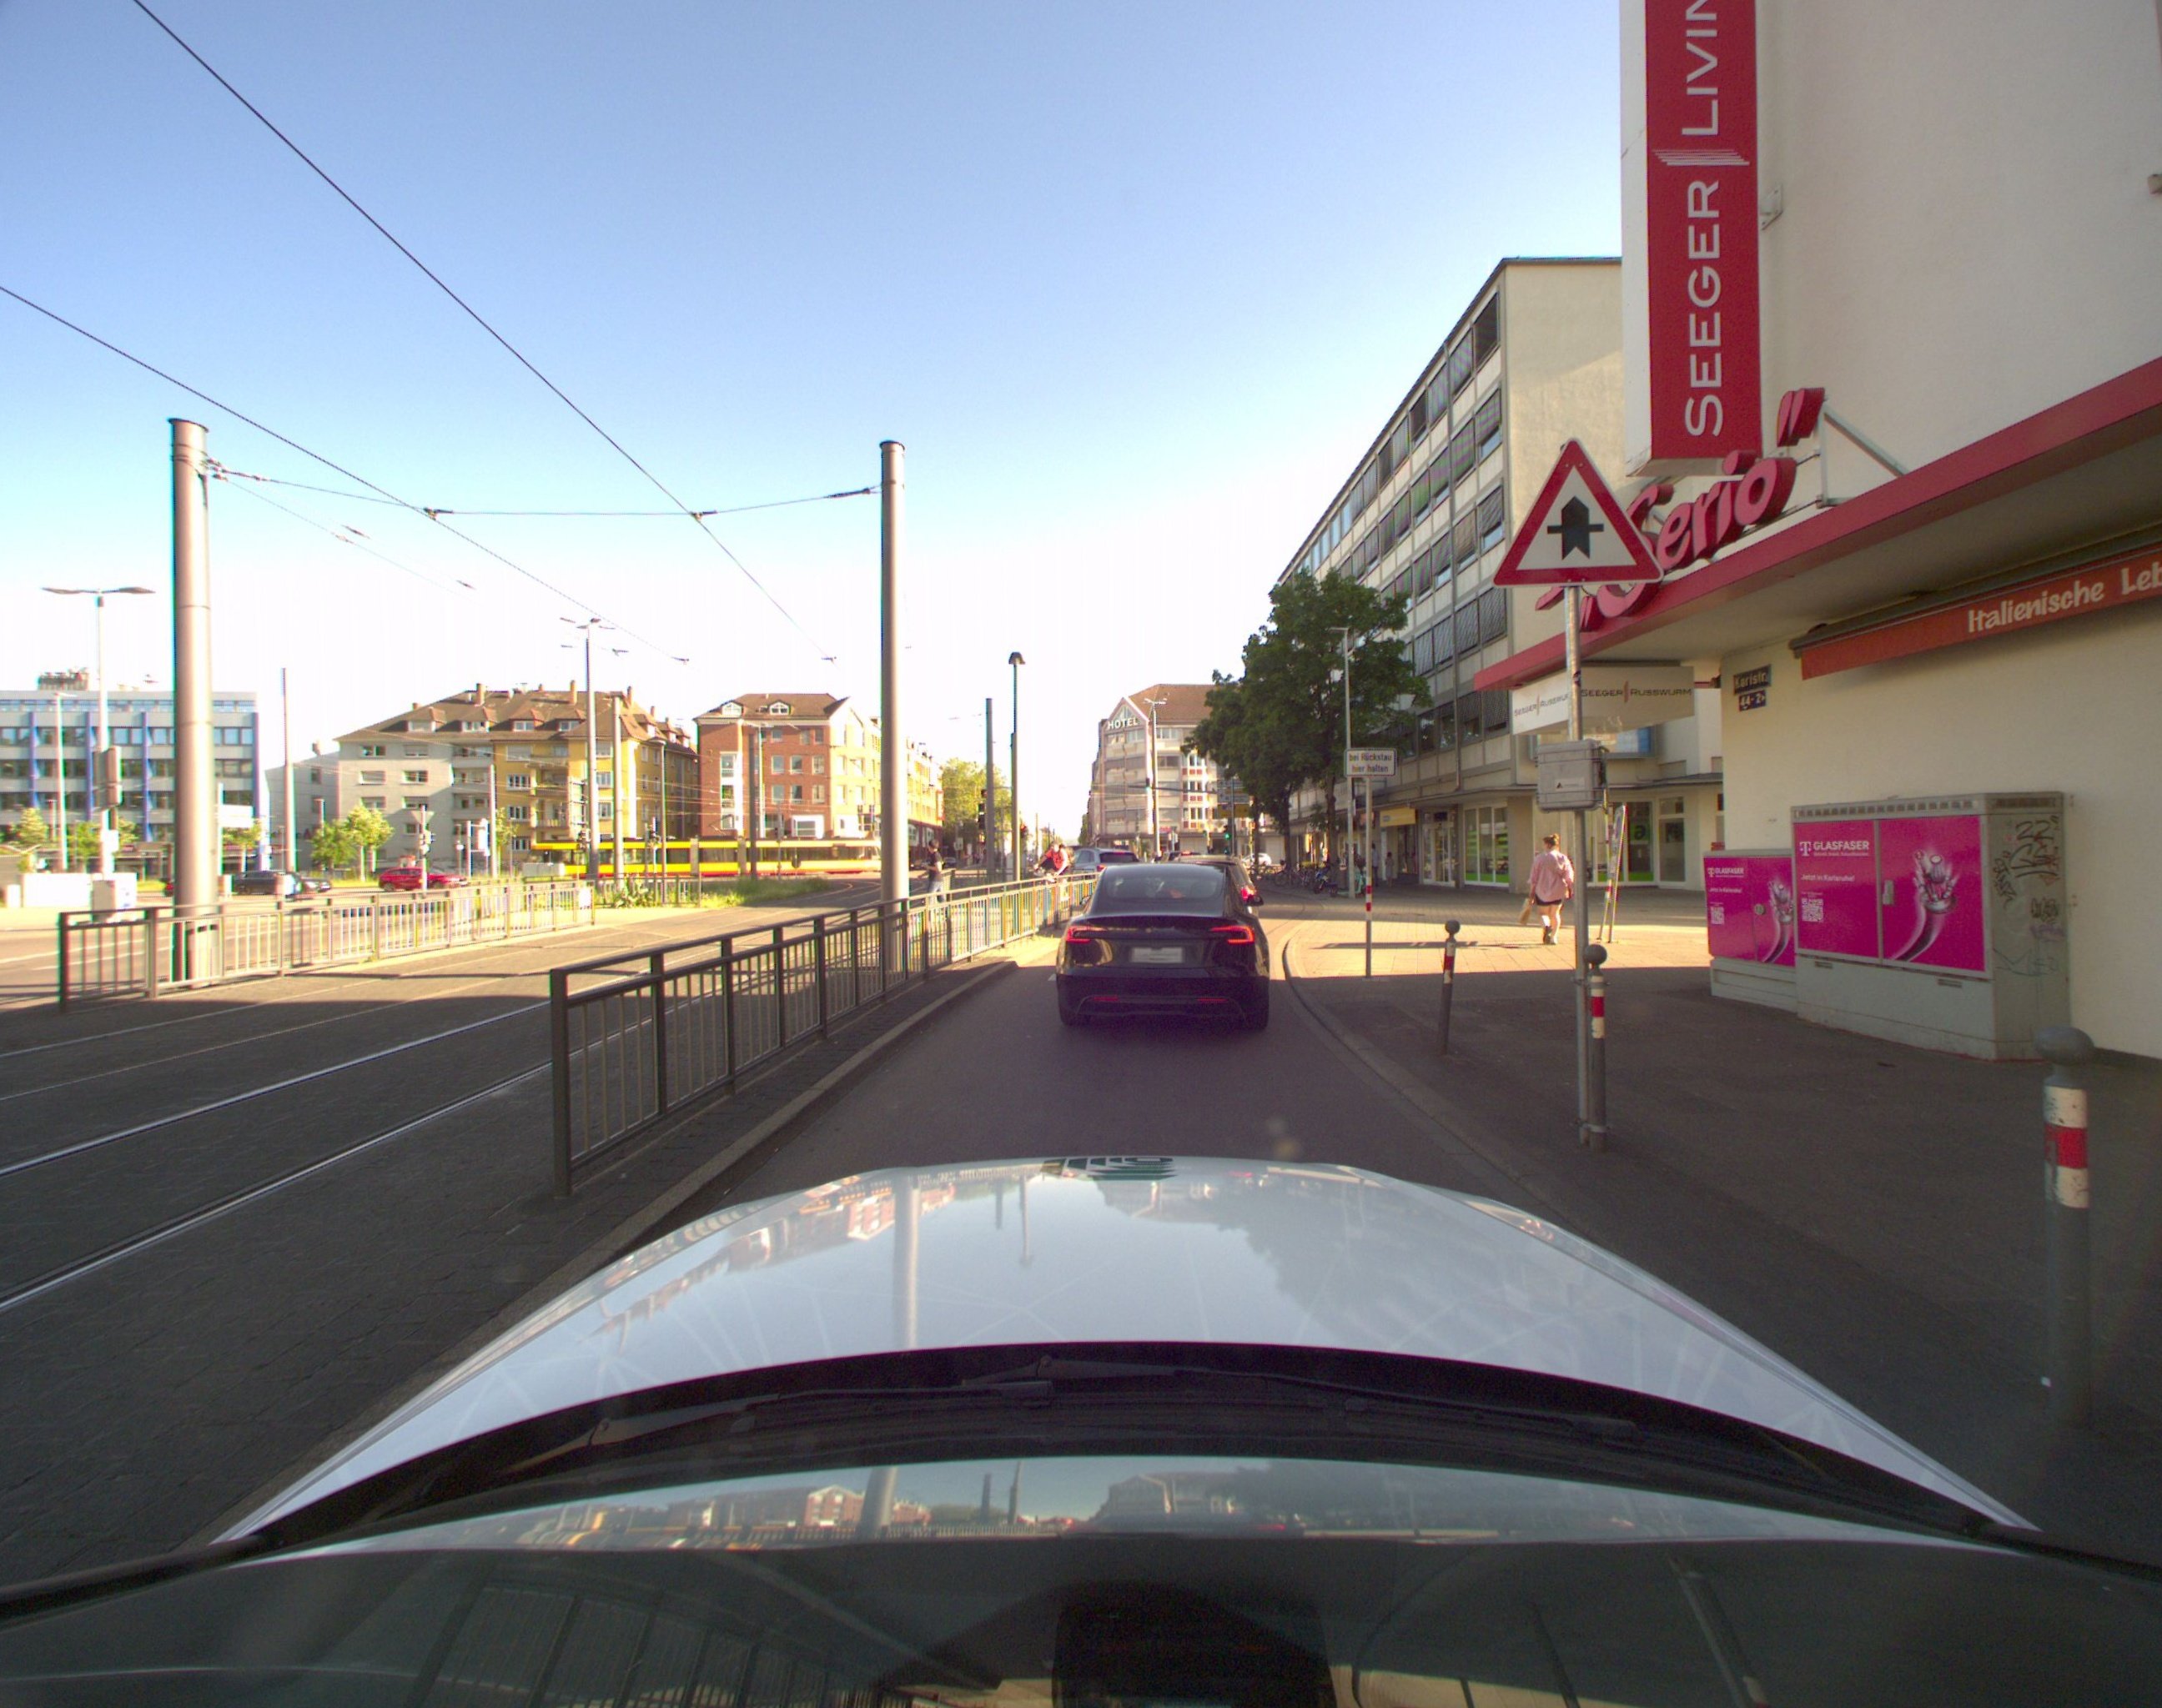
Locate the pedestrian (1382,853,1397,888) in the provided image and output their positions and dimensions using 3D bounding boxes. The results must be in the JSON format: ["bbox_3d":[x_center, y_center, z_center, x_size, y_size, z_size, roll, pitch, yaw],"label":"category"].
[{"bbox_3d":[12.242,0.652,32.329,0.388,1.343,0.513,0,-1,4],"label":"pedestrian"}]

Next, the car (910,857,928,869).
[{"bbox_3d":[-20.542,1.154,103.504,1.706,1.527,4.032,0,-1,-3],"label":"car"}]

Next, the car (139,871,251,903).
[{"bbox_3d":[-50.614,1.860,46.616,3.952,1.685,1.903,0,-1,-11],"label":"car"}]

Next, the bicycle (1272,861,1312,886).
[{"bbox_3d":[9.126,0.847,35.304,1.643,1.099,0.350,0,-1,3],"label":"bicycle"}]

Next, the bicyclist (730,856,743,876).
[{"bbox_3d":[-26.058,0.900,61.559,0.631,1.503,0.696,0,-1,1],"label":"bicyclist"}]

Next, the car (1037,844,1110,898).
[{"bbox_3d":[-0.369,0.662,32.767,1.997,2.014,3.980,-1,0,-15],"label":"car"}]

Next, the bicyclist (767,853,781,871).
[{"bbox_3d":[-25.890,0.713,68.574,0.895,1.503,0.696,0,-1,1],"label":"bicyclist"}]

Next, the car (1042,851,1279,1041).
[{"bbox_3d":[0.843,0.727,8.327,1.820,1.455,4.007,0,-1,7],"label":"car"}]

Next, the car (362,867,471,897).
[{"bbox_3d":[-39.447,1.637,48.427,4.585,1.700,1.993,0,-1,-10],"label":"car"}]

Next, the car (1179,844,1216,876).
[{"bbox_3d":[6.740,0.337,47.392,1.713,1.751,3.755,0,-1,2],"label":"car"}]

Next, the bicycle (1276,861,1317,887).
[{"bbox_3d":[9.028,0.835,34.157,1.649,1.099,0.349,0,-1,-9],"label":"bicycle"}]

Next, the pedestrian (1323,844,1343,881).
[{"bbox_3d":[11.674,0.397,37.787,0.697,1.662,0.777,0,-1,1],"label":"pedestrian"}]

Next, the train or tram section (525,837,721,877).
[{"bbox_3d":[-37.215,0.250,66.841,13.692,3.131,2.720,0,-1,-14],"label":"train or tram section"}]

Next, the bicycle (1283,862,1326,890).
[{"bbox_3d":[8.738,0.856,31.835,1.649,1.099,0.349,0,-1,-9],"label":"bicycle"}]

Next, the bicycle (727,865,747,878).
[{"bbox_3d":[-26.042,1.312,61.653,0.445,0.972,2.247,0,-1,2],"label":"bicycle"}]

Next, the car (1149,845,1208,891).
[{"bbox_3d":[3.961,0.572,33.629,1.596,1.778,3.973,0,-1,-6],"label":"car"}]

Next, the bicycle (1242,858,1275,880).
[{"bbox_3d":[9.253,0.785,42.439,1.643,1.099,0.350,0,-1,3],"label":"bicycle"}]

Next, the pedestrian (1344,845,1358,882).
[{"bbox_3d":[12.525,0.457,37.824,0.523,1.710,0.404,-1,-1,8],"label":"pedestrian"}]

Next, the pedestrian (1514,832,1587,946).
[{"bbox_3d":[7.141,0.521,12.435,0.881,1.667,0.813,-1,-1,25],"label":"pedestrian"}]

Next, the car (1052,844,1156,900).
[{"bbox_3d":[0.665,0.552,26.601,1.891,1.662,4.126,0,-1,-23],"label":"car"}]

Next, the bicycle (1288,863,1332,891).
[{"bbox_3d":[8.824,0.874,31.408,1.649,1.061,0.349,0,-1,-9],"label":"bicycle"}]

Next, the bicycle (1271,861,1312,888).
[{"bbox_3d":[8.624,0.844,33.366,1.649,1.099,0.349,0,-1,-9],"label":"bicycle"}]

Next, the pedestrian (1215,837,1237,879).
[{"bbox_3d":[7.164,0.199,40.229,0.917,2.014,0.973,0,-1,1],"label":"pedestrian"}]

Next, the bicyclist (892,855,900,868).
[{"bbox_3d":[-22.561,0.894,99.164,0.780,1.563,0.747,0,-1,3],"label":"bicyclist"}]

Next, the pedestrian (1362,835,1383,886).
[{"bbox_3d":[11.581,0.250,32.379,0.659,2.014,0.580,0,-1,4],"label":"pedestrian"}]

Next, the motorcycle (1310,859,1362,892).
[{"bbox_3d":[9.151,0.780,29.215,1.701,1.173,0.541,0,-1,0],"label":"motorcycle"}]

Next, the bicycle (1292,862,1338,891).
[{"bbox_3d":[8.902,0.857,30.985,1.649,1.099,0.349,0,-1,-9],"label":"bicycle"}]

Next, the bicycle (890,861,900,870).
[{"bbox_3d":[-22.578,1.431,98.800,0.535,1.088,2.226,0,-1,3],"label":"bicycle"}]

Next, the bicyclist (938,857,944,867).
[{"bbox_3d":[-23.257,1.350,135.050,0.780,1.563,0.747,0,-1,3],"label":"bicyclist"}]

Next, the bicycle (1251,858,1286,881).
[{"bbox_3d":[9.289,0.762,40.297,1.643,1.099,0.350,0,-1,3],"label":"bicycle"}]

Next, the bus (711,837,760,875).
[{"bbox_3d":[-29.377,0.212,69.291,3.538,3.131,2.744,0,-1,-30],"label":"bus"}]

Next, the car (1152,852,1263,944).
[{"bbox_3d":[2.309,0.701,15.005,1.741,1.454,4.009,0,0,8],"label":"car"}]

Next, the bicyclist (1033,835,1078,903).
[{"bbox_3d":[-0.585,0.340,18.809,0.387,1.521,1.050,-1,-1,45],"label":"bicyclist"}]

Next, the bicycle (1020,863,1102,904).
[{"bbox_3d":[-0.525,0.800,22.650,2.346,1.053,0.624,0,-1,-36],"label":"bicycle"}]

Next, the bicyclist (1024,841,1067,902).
[{"bbox_3d":[-0.988,0.460,22.309,0.763,1.628,0.967,0,-1,-37],"label":"bicyclist"}]

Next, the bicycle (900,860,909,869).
[{"bbox_3d":[-22.378,1.272,103.291,0.527,1.088,2.285,-1,0,3],"label":"bicycle"}]

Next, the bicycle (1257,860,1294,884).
[{"bbox_3d":[9.148,0.832,38.258,1.643,1.099,0.350,0,-1,3],"label":"bicycle"}]

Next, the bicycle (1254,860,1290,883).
[{"bbox_3d":[9.196,0.836,39.277,1.643,1.099,0.350,0,-1,3],"label":"bicycle"}]

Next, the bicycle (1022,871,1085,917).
[{"bbox_3d":[-0.623,0.911,18.759,0.398,0.994,1.612,-1,-1,45],"label":"bicycle"}]

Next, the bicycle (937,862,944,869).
[{"bbox_3d":[-23.263,1.861,134.896,0.527,1.088,2.227,0,-1,4],"label":"bicycle"}]

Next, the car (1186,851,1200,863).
[{"bbox_3d":[10.600,0.239,77.195,0.914,1.099,1.876,-1,0,18],"label":"car"}]

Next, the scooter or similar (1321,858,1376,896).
[{"bbox_3d":[8.904,0.762,27.145,1.625,1.215,0.649,-1,-1,32],"label":"scooter or similar"}]

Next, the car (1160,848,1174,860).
[{"bbox_3d":[7.936,0.028,75.433,0.914,1.100,1.876,-1,-1,18],"label":"car"}]

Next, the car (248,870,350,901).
[{"bbox_3d":[-45.484,1.821,47.433,3.984,1.672,1.772,0,-1,-8],"label":"car"}]

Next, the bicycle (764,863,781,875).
[{"bbox_3d":[-25.896,1.276,68.358,0.522,0.972,2.247,0,-1,2],"label":"bicycle"}]

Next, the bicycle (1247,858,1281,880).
[{"bbox_3d":[9.271,0.756,41.345,1.643,1.099,0.350,-1,0,3],"label":"bicycle"}]

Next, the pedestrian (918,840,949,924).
[{"bbox_3d":[-3.020,0.557,16.715,0.590,1.681,0.772,0,-1,-9],"label":"pedestrian"}]

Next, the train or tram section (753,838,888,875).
[{"bbox_3d":[-23.284,0.200,73.321,11.315,3.131,2.775,0,-1,-35],"label":"train or tram section"}]

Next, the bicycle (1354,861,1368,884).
[{"bbox_3d":[12.966,0.835,37.714,0.330,1.034,1.258,0,-1,6],"label":"bicycle"}]

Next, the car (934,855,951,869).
[{"bbox_3d":[-18.118,1.025,106.697,1.692,1.731,3.706,0,-1,0],"label":"car"}]

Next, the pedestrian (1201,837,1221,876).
[{"bbox_3d":[6.860,0.133,42.982,0.917,2.014,0.973,0,-1,1],"label":"pedestrian"}]

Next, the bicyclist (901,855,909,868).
[{"bbox_3d":[-22.345,0.969,103.286,0.780,1.563,0.747,-1,0,3],"label":"bicyclist"}]
